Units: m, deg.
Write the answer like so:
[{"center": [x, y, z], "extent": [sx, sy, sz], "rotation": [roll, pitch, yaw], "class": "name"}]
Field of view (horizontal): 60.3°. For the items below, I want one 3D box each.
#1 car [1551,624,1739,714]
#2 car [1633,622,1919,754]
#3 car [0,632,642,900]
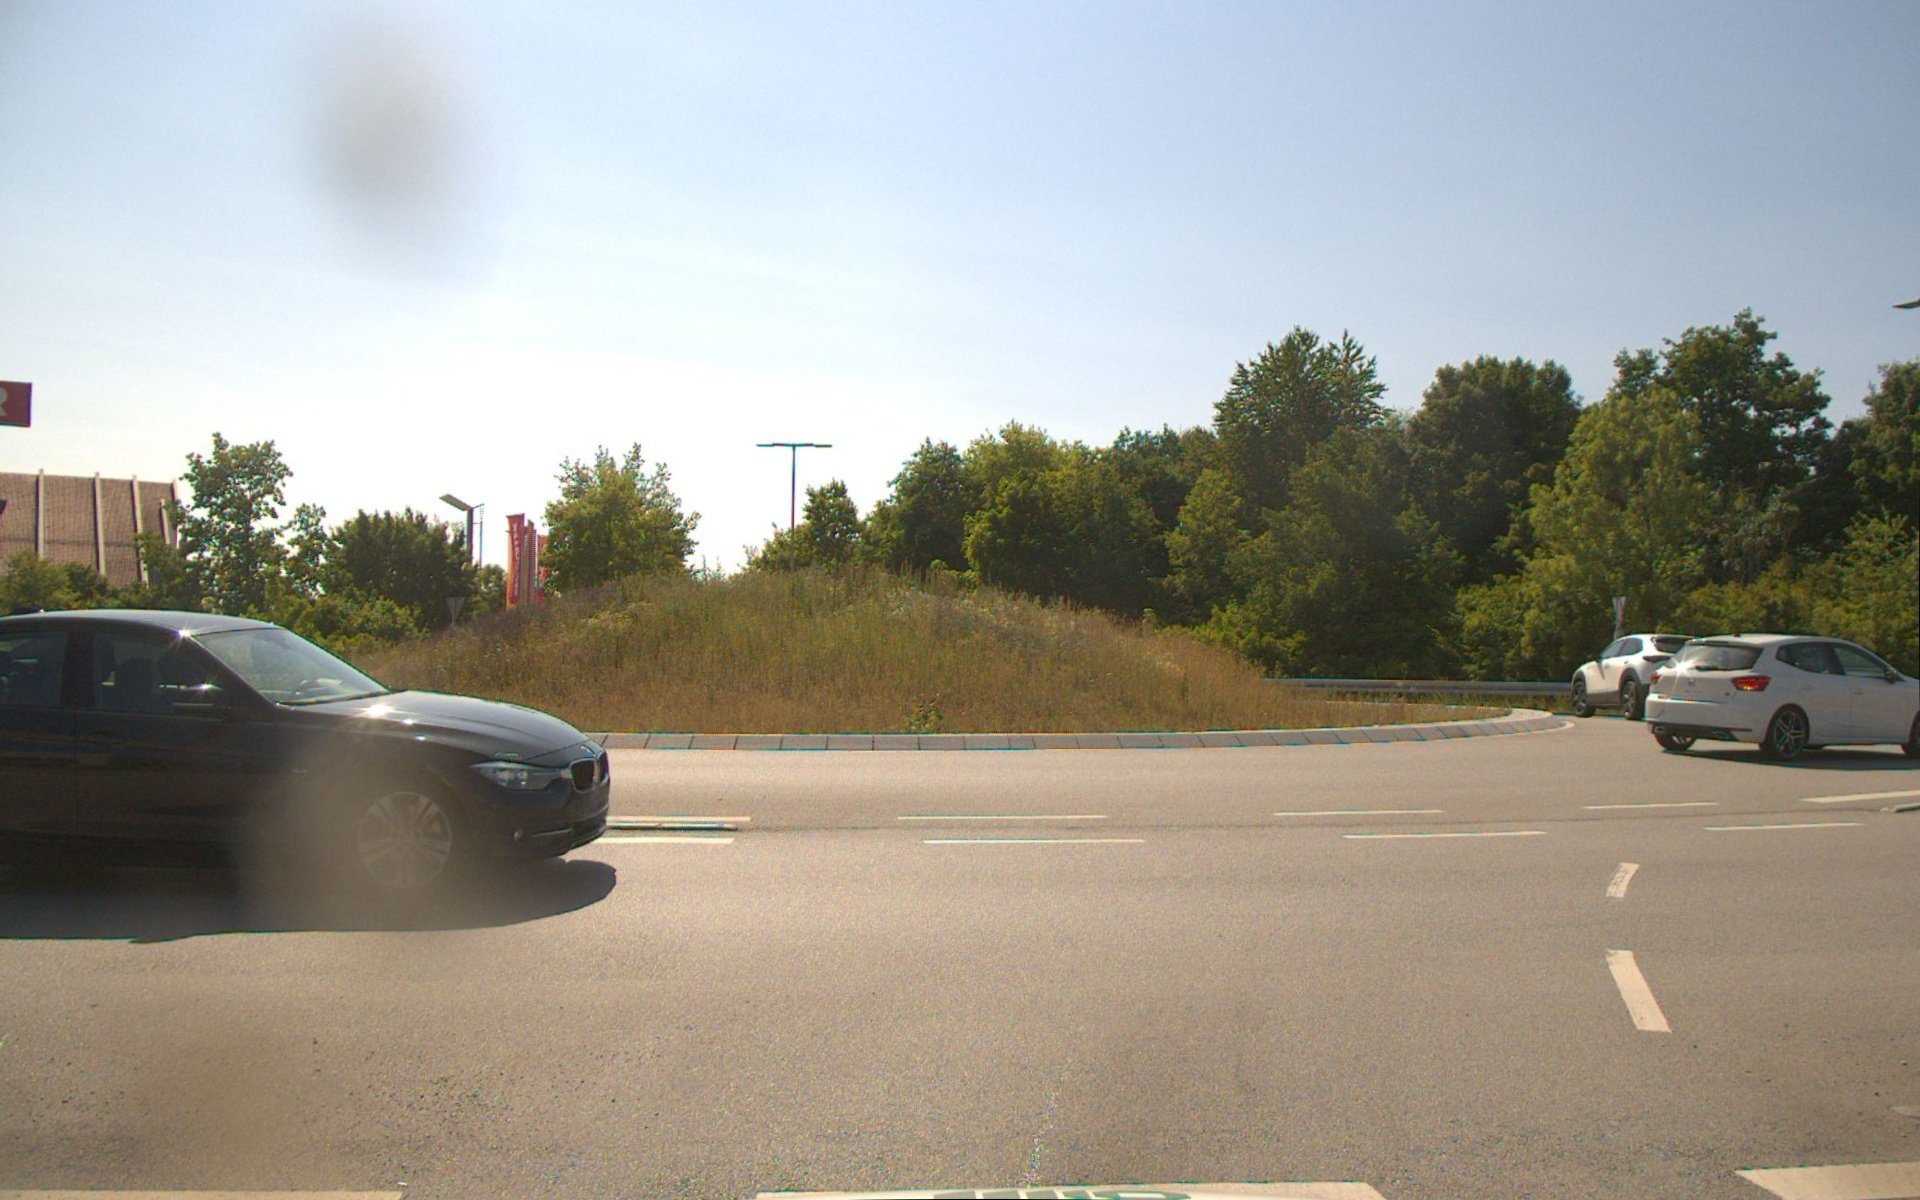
[{"center": [12.634, 1.271, 30.811], "extent": [1.749, 1.557, 4.287], "rotation": [0, -2, 1], "class": "car"}, {"center": [10.377, 1.044, 20.117], "extent": [4.355, 1.430, 1.774], "rotation": [2, -1, -30], "class": "car"}, {"center": [-3.822, 0.823, 8.994], "extent": [3.771, 1.203, 1.677], "rotation": [1, -1, 4], "class": "car"}]
